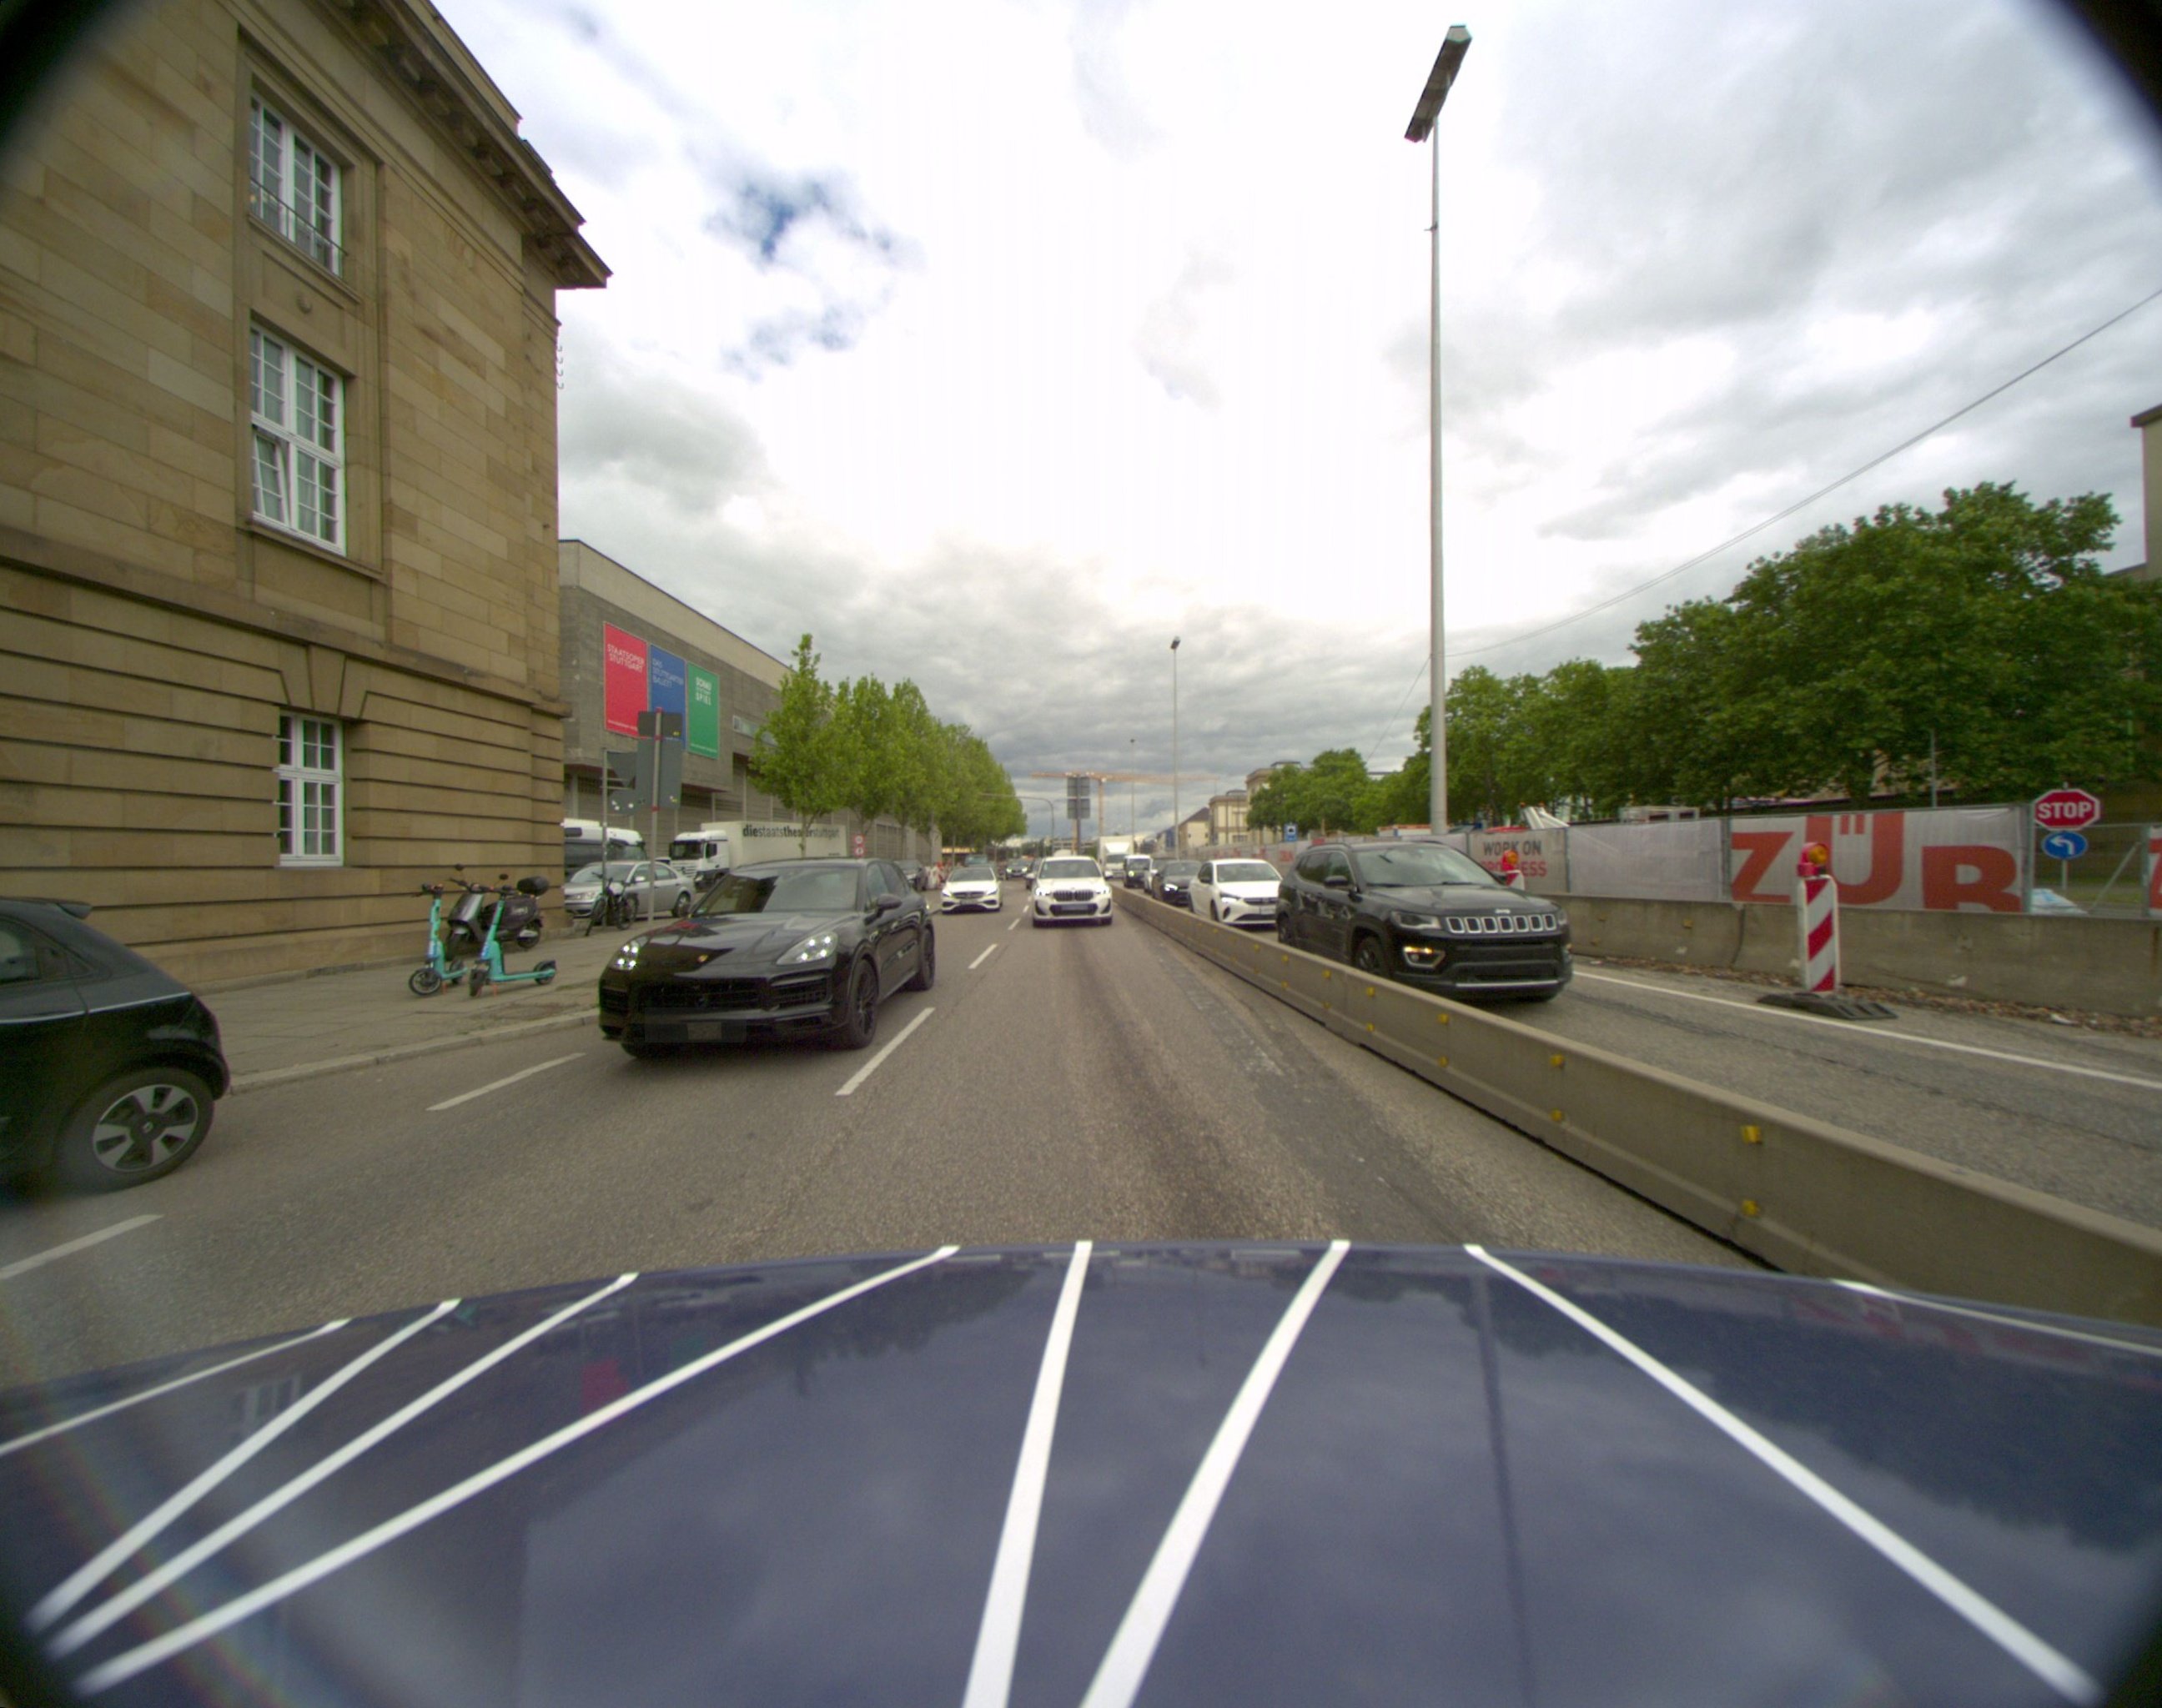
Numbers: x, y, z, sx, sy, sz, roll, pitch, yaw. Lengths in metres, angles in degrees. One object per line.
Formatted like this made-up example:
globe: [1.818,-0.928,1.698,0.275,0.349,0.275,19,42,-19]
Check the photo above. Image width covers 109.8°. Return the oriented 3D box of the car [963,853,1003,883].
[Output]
car: [-6.523,0.892,51.011,1.952,1.914,4.399,-1,0,2]

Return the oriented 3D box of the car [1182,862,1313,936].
car: [3.428,0.870,16.381,1.731,1.288,3.933,-2,1,-3]

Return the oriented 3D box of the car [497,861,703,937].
car: [-10.834,0.927,17.595,1.782,1.460,4.575,-2,0,0]

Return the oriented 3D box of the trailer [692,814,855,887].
trailer: [-19.858,-0.289,50.800,3.154,4.077,13.979,-3,1,9]

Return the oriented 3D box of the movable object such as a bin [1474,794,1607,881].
movable object such as a bin: [12.410,-0.409,20.745,1.526,2.172,3.292,-1,0,-3]

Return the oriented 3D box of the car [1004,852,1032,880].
car: [-4.848,0.894,58.425,1.999,2.002,3.998,-2,0,-5]

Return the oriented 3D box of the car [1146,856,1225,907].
car: [3.279,0.814,24.737,1.859,1.407,4.565,-2,0,-1]

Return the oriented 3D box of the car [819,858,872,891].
car: [-11.882,0.998,38.513,1.584,1.521,3.503,-2,0,-1]

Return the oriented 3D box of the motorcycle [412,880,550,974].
motorcycle: [-9.119,1.061,11.662,0.456,1.235,1.923,0,0,5]

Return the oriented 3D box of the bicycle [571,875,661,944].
bicycle: [-9.297,1.075,15.280,0.610,1.217,1.962,2,0,-1]

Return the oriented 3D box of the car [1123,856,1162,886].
car: [3.151,0.829,39.457,1.652,1.430,3.934,-2,0,-1]

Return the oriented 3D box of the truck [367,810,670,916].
truck: [-23.084,0.362,31.554,10.378,4.181,2.999,0,0,1]

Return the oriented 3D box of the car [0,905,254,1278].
car: [-5.480,1.055,2.404,1.549,1.543,3.709,0,0,3]

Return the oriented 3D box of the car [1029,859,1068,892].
car: [-1.615,1.010,37.506,1.802,1.429,4.019,-2,0,-3]

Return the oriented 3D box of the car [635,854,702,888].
car: [-24.681,0.964,45.638,1.558,1.871,4.001,-2,0,5]

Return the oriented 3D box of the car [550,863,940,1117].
car: [-2.750,0.979,7.448,1.908,1.648,4.200,-2,1,0]

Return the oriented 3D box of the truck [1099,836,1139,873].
truck: [2.941,0.028,60.416,2.978,2.757,7.255,-1,0,1]

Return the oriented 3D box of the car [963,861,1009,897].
car: [-4.196,1.074,33.954,1.612,1.464,3.621,-1,0,-1]

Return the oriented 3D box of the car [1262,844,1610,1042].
car: [3.500,0.735,8.439,1.781,1.611,4.045,-2,1,-3]

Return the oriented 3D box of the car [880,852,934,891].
car: [-8.468,0.823,37.379,1.810,1.728,4.484,-2,-1,-3]

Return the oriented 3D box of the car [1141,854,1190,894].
car: [3.532,0.818,32.204,1.634,1.546,3.002,-2,0,-1]

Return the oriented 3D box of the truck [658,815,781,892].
truck: [-20.842,-0.074,44.316,3.138,4.061,6.577,-2,1,9]

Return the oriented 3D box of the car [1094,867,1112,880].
car: [2.956,2.636,102.005,1.873,1.499,3.998,-3,1,-5]

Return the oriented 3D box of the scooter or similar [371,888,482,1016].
scooter or similar: [-7.433,1.064,8.689,0.453,1.246,1.367,-1,2,-19]

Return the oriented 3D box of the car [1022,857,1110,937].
car: [-0.441,0.929,18.927,1.856,1.618,4.905,-2,1,-3]

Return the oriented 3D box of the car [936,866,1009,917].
car: [-3.387,1.124,24.425,1.935,1.368,3.999,-2,0,-3]

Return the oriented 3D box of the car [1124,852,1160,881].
car: [3.802,0.735,47.998,1.842,1.751,4.480,-1,0,0]

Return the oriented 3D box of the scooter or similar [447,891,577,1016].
scooter or similar: [-6.486,1.086,8.741,0.380,1.254,1.403,-1,0,1]

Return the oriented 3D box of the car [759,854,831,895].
car: [-14.358,0.971,38.412,1.810,1.773,4.620,-4,0,0]

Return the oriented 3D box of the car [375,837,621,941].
car: [-13.378,0.739,17.955,1.953,2.056,4.916,-2,0,0]

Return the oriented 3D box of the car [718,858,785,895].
car: [-16.666,1.091,38.646,1.719,1.679,3.761,-2,0,-1]
